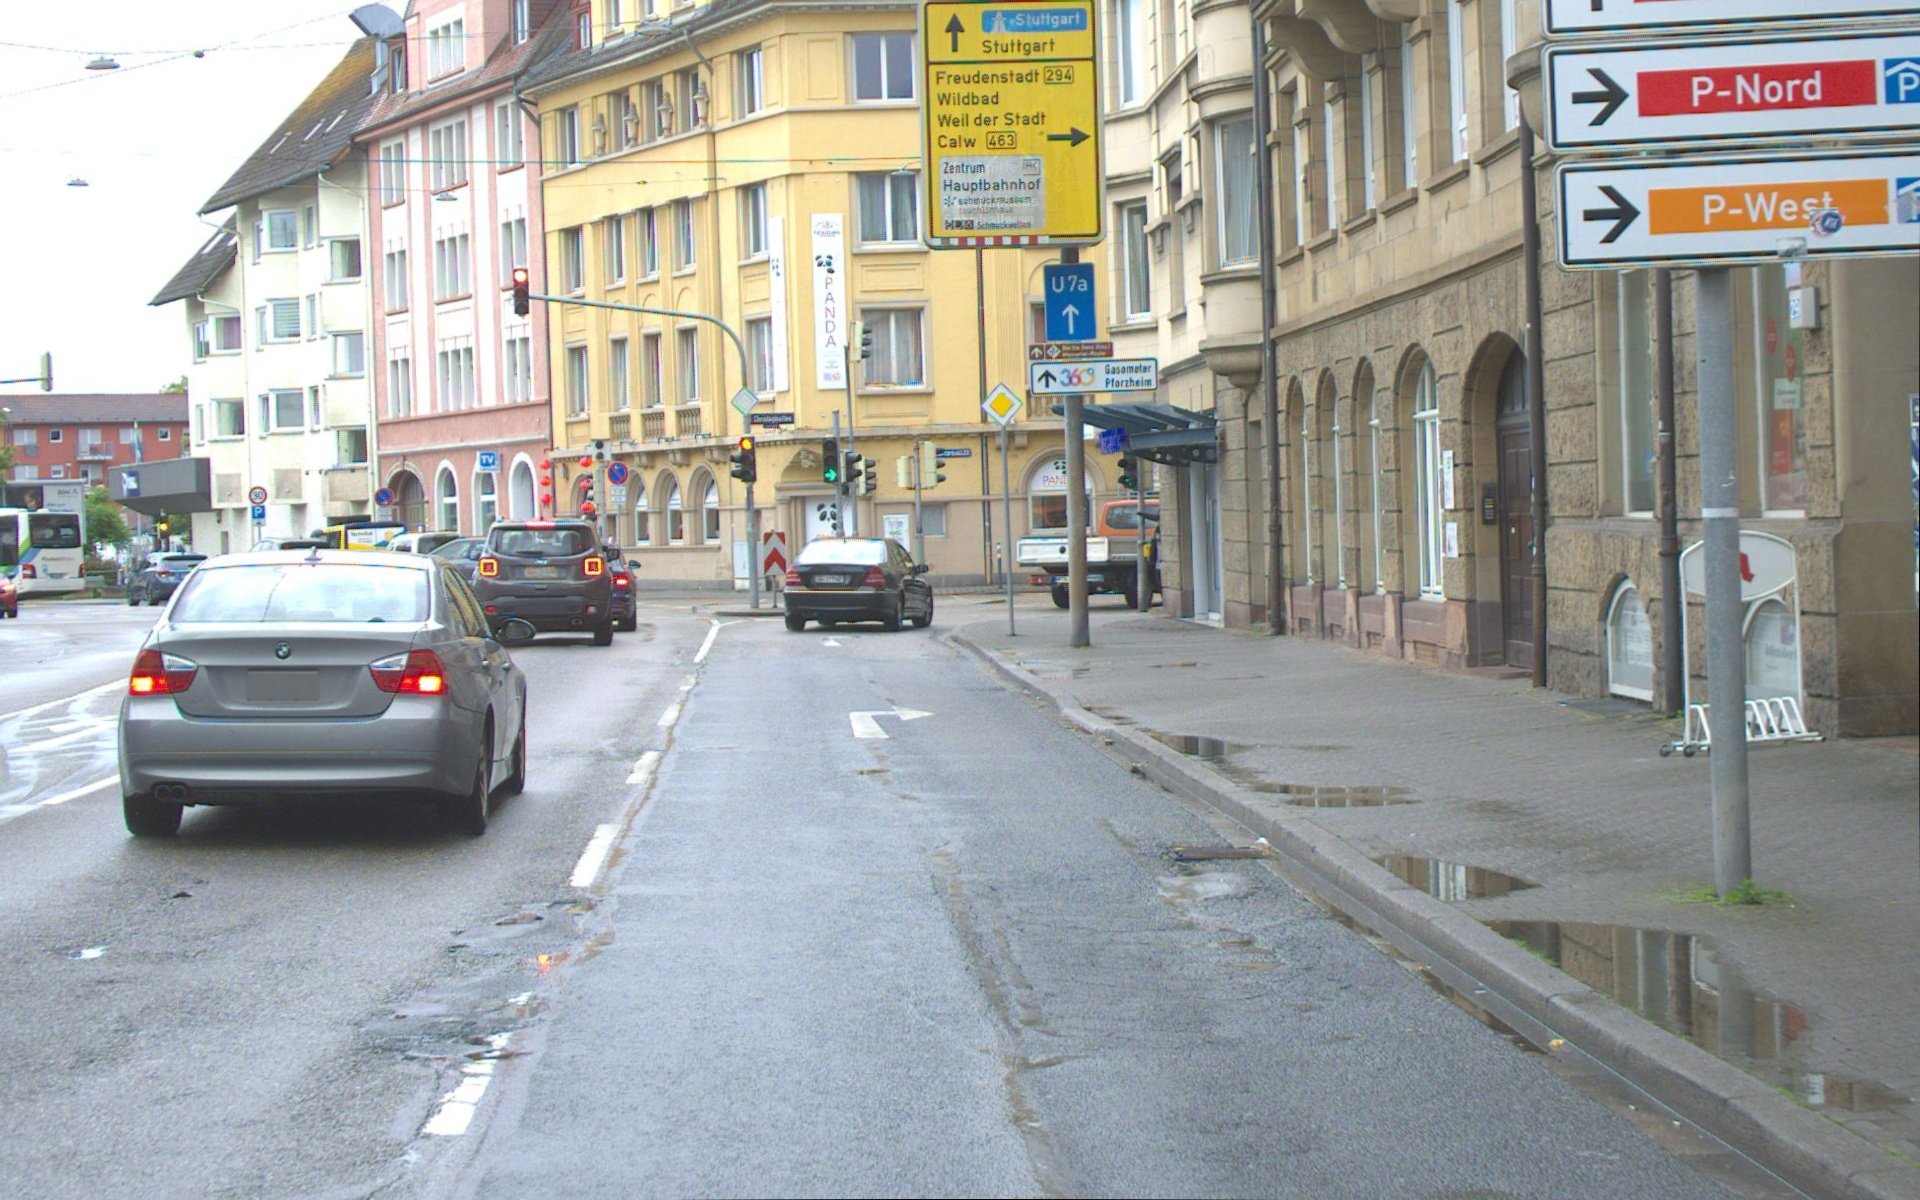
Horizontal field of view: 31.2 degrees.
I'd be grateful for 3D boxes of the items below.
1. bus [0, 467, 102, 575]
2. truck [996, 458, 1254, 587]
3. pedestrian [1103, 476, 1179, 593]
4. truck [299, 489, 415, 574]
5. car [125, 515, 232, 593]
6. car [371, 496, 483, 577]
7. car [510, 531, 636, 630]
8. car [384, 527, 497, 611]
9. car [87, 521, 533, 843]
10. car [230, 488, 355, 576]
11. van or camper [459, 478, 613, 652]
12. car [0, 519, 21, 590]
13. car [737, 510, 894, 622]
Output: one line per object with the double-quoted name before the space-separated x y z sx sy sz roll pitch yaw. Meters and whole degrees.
"bus" -30.468 -2.274 103.610 9.126 3.094 2.914 -1 2 27
"truck" 3.038 -1.430 62.288 2.229 2.242 5.052 0 2 36
"pedestrian" 3.008 -1.086 56.944 1.058 1.897 1.024 -1 2 13
"truck" -17.448 -1.994 99.383 2.026 2.381 4.237 -2 2 -28
"car" -21.305 -1.254 93.606 1.993 2.006 4.001 -3 2 -25
"car" -14.670 -1.749 94.474 1.761 2.172 4.001 0 1 -29
"car" -5.883 -0.323 52.320 1.802 1.401 4.685 -1 1 -6
"car" -11.866 -0.709 78.374 1.993 1.809 4.001 -2 1 -16
"car" -3.246 0.332 17.933 1.799 1.459 4.372 1 1 -4
"car" -16.054 -1.629 82.557 1.993 2.006 4.001 -3 2 -24
"van or camper" -5.582 -0.503 45.524 1.854 2.139 4.144 -2 2 -6
"car" -24.143 -1.108 83.631 1.844 1.678 4.001 -1 1 -25
"car" -2.188 -0.514 51.144 1.799 1.558 4.001 -2 1 -10
